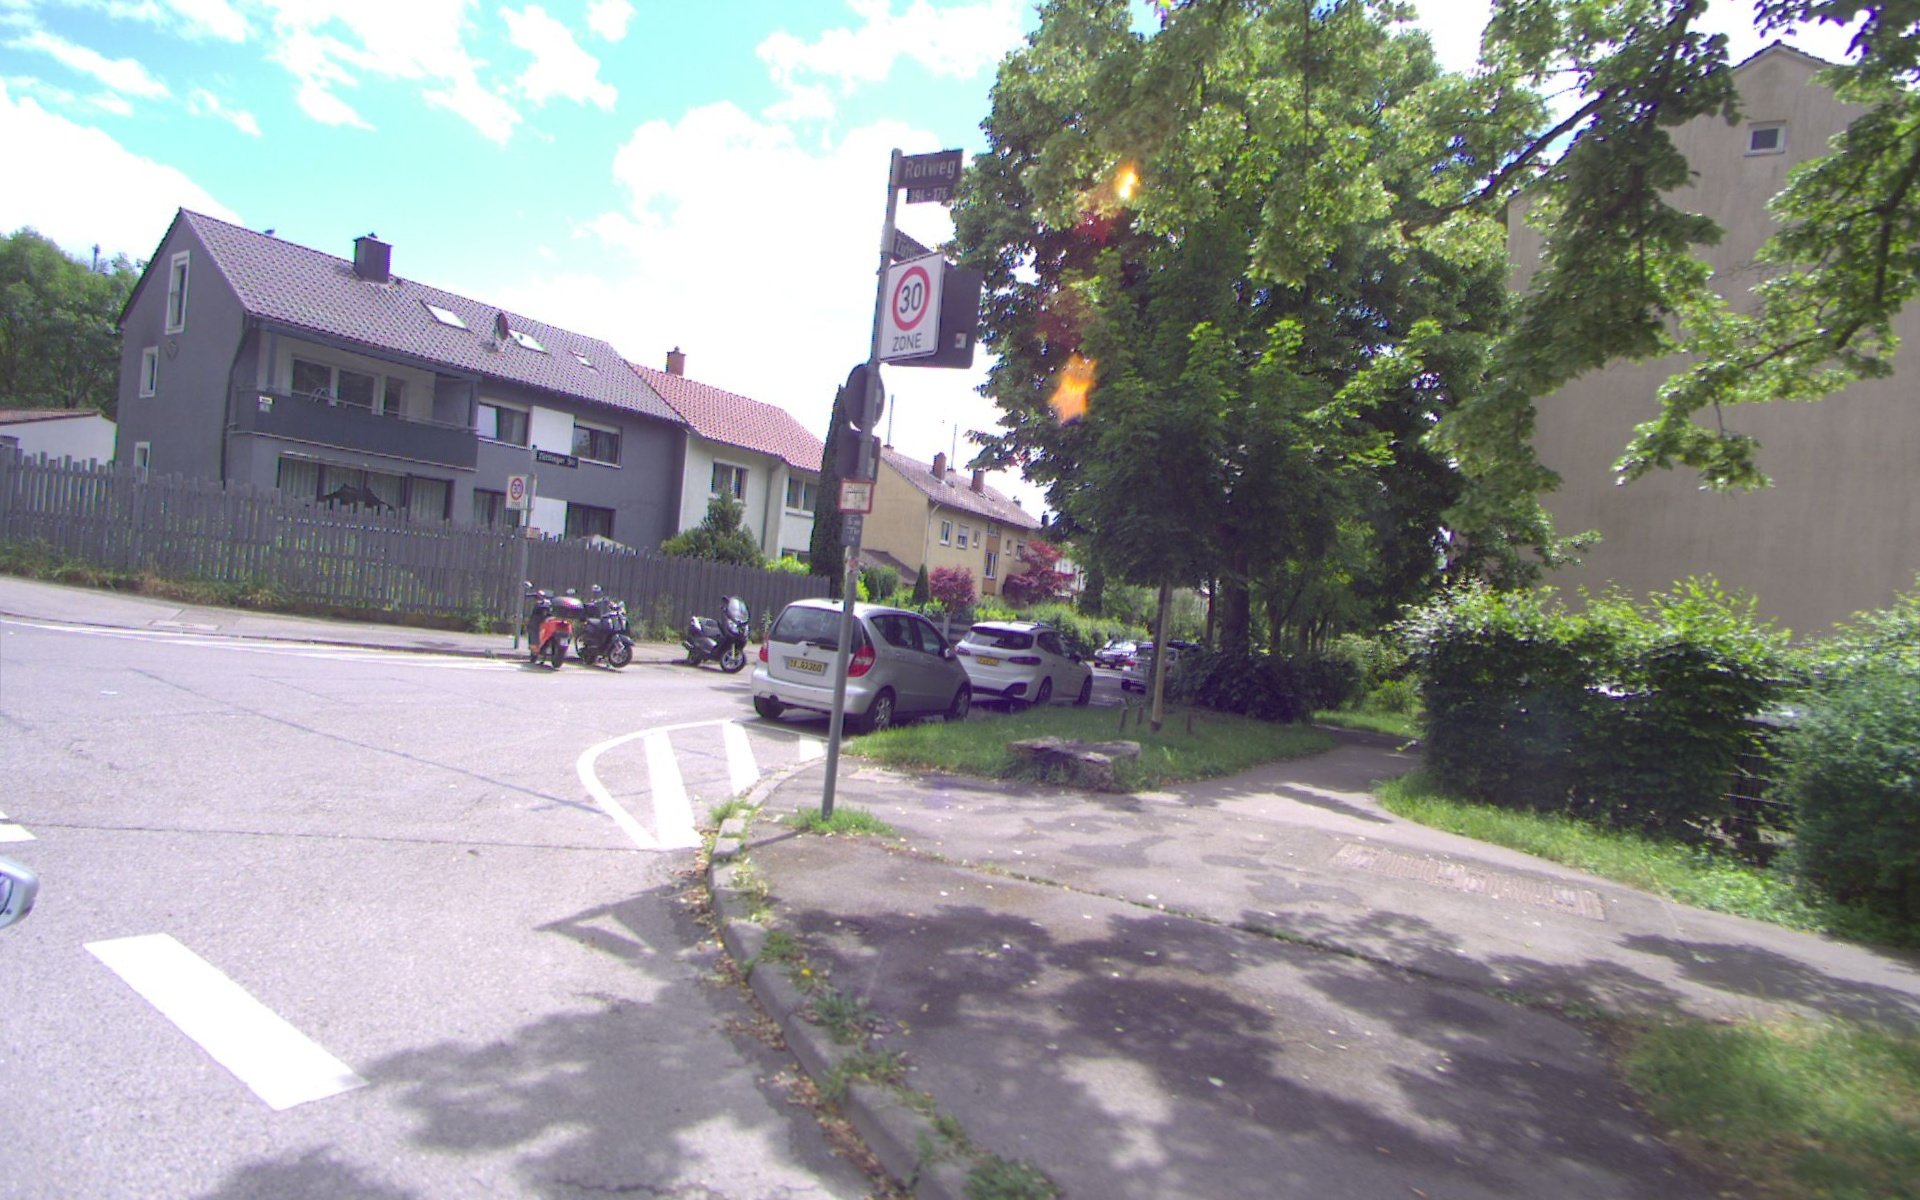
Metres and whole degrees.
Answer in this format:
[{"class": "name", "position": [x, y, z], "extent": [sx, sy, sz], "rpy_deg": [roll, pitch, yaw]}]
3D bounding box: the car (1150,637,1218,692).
[{"class": "car", "position": [7.902, 2.237, 35.262], "extent": [1.568, 1.640, 3.958], "rpy_deg": [6, -1, 22]}]

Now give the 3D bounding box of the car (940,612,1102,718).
[{"class": "car", "position": [1.294, 1.224, 19.273], "extent": [1.749, 1.583, 4.017], "rpy_deg": [8, 0, 22]}]

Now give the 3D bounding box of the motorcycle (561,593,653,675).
[{"class": "motorcycle", "position": [-5.969, 0.556, 16.930], "extent": [0.656, 1.163, 1.970], "rpy_deg": [7, -1, -41]}]

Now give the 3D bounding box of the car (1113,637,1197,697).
[{"class": "car", "position": [5.964, 2.001, 30.466], "extent": [1.660, 1.525, 3.958], "rpy_deg": [6, -1, 22]}]

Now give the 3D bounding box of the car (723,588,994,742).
[{"class": "car", "position": [-1.194, 0.860, 13.785], "extent": [1.903, 1.573, 3.999], "rpy_deg": [7, 0, 22]}]

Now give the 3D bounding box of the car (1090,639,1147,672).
[{"class": "car", "position": [7.687, 2.656, 48.423], "extent": [1.710, 1.335, 3.958], "rpy_deg": [6, -1, 23]}]

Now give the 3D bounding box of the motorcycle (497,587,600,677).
[{"class": "motorcycle", "position": [-6.507, 0.469, 15.821], "extent": [0.656, 1.163, 2.397], "rpy_deg": [7, -1, -41]}]

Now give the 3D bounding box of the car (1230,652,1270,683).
[{"class": "car", "position": [15.969, 3.684, 55.309], "extent": [1.568, 1.428, 3.958], "rpy_deg": [6, -1, 22]}]

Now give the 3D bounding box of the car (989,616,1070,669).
[{"class": "car", "position": [2.640, 1.606, 37.476], "extent": [1.710, 1.659, 3.958], "rpy_deg": [6, -1, 23]}]

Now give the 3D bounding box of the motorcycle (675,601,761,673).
[{"class": "motorcycle", "position": [-4.694, 0.699, 19.438], "extent": [0.656, 1.163, 1.970], "rpy_deg": [7, -1, -41]}]
